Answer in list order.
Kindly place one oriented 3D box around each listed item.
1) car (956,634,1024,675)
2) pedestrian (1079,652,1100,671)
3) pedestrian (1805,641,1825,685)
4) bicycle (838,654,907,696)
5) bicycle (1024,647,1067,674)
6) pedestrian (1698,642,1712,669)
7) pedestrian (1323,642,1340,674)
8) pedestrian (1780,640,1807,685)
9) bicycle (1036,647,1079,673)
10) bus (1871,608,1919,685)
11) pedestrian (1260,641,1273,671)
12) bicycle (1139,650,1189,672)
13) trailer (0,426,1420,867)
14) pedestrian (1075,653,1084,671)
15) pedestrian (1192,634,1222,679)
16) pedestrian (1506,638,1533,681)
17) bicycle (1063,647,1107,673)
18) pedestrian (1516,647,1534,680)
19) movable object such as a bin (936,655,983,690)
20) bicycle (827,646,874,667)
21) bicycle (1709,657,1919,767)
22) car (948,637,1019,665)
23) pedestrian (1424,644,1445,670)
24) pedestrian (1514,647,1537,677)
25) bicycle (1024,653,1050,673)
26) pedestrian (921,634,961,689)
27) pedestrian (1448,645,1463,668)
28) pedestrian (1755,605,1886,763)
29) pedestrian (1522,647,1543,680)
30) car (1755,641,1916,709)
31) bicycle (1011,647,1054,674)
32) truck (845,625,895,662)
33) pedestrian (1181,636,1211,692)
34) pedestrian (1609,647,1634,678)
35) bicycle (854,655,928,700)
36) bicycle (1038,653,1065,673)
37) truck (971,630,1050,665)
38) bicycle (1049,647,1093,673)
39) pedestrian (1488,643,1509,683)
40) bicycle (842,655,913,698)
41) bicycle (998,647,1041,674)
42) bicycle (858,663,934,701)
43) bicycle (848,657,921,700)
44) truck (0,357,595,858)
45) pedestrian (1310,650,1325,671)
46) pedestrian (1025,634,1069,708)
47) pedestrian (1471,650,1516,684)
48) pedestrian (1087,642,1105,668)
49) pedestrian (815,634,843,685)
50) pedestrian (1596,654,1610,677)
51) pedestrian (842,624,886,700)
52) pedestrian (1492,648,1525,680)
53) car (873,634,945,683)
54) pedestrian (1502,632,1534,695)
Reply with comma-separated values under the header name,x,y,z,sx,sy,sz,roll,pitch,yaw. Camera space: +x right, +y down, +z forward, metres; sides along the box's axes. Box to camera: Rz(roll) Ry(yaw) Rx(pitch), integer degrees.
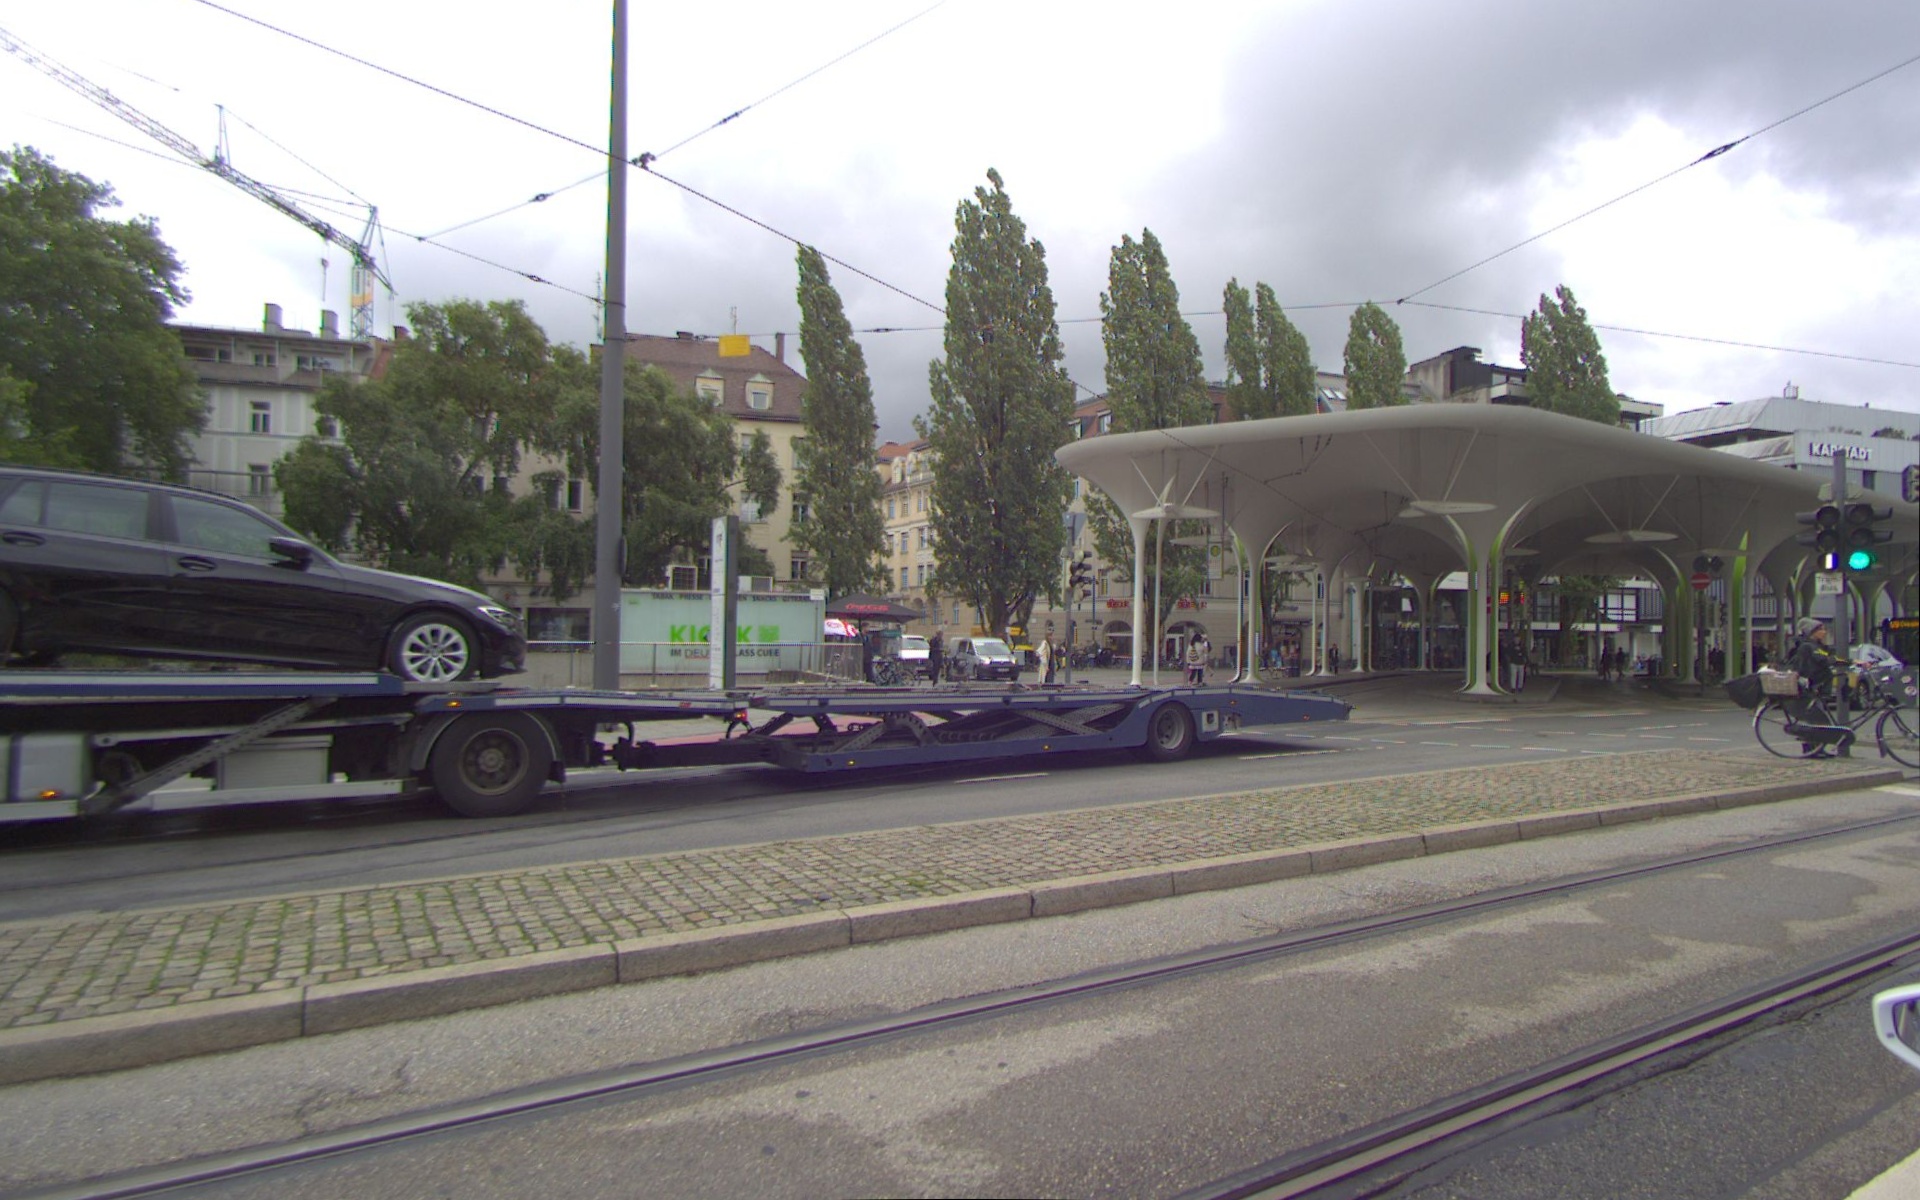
name,x,y,z,sx,sy,sz,roll,pitch,yaw
car,1.199,2.244,42.044,1.800,1.636,3.989,1,-2,-15
pedestrian,7.907,3.768,61.531,0.606,1.097,1.835,1,-2,-16
pedestrian,34.886,2.572,40.983,0.751,1.766,0.559,2,-3,-45
bicycle,-2.384,2.031,27.320,1.819,1.110,0.479,1,-2,-17
bicycle,5.619,3.987,66.655,0.989,1.634,3.598,2,-2,-29
pedestrian,45.652,3.401,61.529,0.543,1.631,0.568,2,-2,-39
pedestrian,19.668,3.082,53.164,0.635,1.669,0.596,2,-2,-37
pedestrian,33.161,2.482,39.952,0.875,1.744,0.707,2,-2,-42
bicycle,6.470,4.015,67.200,0.989,1.634,3.598,2,-2,-29
bus,42.246,2.008,42.533,10.400,3.046,2.647,2,-4,-32
pedestrian,18.668,3.424,61.217,0.546,1.838,0.556,1,-2,-18
bicycle,12.495,3.740,61.450,2.886,1.331,0.841,1,-2,-6
trailer,-0.605,0.553,11.231,15.473,2.717,2.595,2,-4,-33
pedestrian,7.282,3.811,61.440,0.397,1.097,0.467,1,-2,-16
pedestrian,11.472,2.616,46.761,1.010,2.040,1.002,1,-2,-14
pedestrian,22.943,2.430,41.208,0.799,1.750,0.668,-1,-3,44
bicycle,8.479,4.080,68.345,0.989,1.634,3.598,2,-2,-29
pedestrian,27.163,3.033,48.283,0.652,1.585,0.640,-1,-2,35
movable object such as a bin,-0.019,2.323,32.369,0.947,1.098,1.325,2,-2,-33
bicycle,-5.940,3.076,54.628,2.395,1.143,0.818,1,-2,-21
bicycle,10.488,1.332,12.187,2.192,1.165,0.505,1,-1,31
car,1.696,3.629,71.453,4.706,1.945,2.002,0,-2,11
pedestrian,32.881,3.952,69.644,0.981,1.796,0.931,1,-2,-10
pedestrian,29.299,3.222,51.998,0.888,1.528,0.738,2,-3,-37
bicycle,4.608,3.753,60.106,0.726,1.149,2.677,1,-2,-14
pedestrian,-0.638,2.028,33.365,0.947,1.785,1.023,2,-2,-33
pedestrian,37.743,4.299,76.508,0.762,1.683,0.779,1,-2,-20
pedestrian,10.444,0.999,12.211,0.883,1.835,0.858,2,-1,-16
pedestrian,28.155,3.116,49.403,0.691,1.639,0.644,1,-2,-26
car,23.109,1.940,26.489,4.625,1.659,1.854,2,-4,-31
bicycle,4.745,3.959,66.253,0.989,1.634,3.598,2,-2,-29
truck,-6.884,3.284,76.240,2.259,2.657,5.324,1,-2,-22
pedestrian,7.011,1.899,29.831,0.822,1.630,0.748,0,-2,11
pedestrian,37.481,3.532,56.923,0.884,1.753,0.867,1,-2,-29
bicycle,-1.755,1.955,25.564,1.821,1.110,0.478,1,-2,-20
bicycle,5.512,3.782,60.514,0.726,1.149,2.677,1,-2,-14
truck,3.737,3.565,76.103,2.412,2.545,7.126,2,-3,-30
bicycle,7.453,4.047,67.691,0.989,1.634,3.598,2,-2,-29
pedestrian,21.506,2.495,40.129,0.586,1.565,0.634,-1,-3,43
bicycle,-2.209,2.034,26.825,1.819,1.110,0.479,1,-2,-17
bicycle,3.875,3.931,65.763,0.989,1.634,3.598,2,-2,-29
bicycle,-1.588,2.030,25.035,1.822,0.906,0.478,1,-2,-22
bicycle,-1.965,2.039,26.168,1.819,1.110,0.479,1,-2,-17
truck,-6.851,0.098,7.240,7.602,3.127,2.554,2,-4,-31
pedestrian,18.798,3.199,52.883,0.573,1.098,0.513,2,-2,-37
pedestrian,2.017,1.623,23.193,0.728,1.650,0.740,-1,-2,39
pedestrian,19.702,2.473,37.082,1.248,1.246,0.811,1,-2,-11
pedestrian,9.646,3.900,71.267,0.792,1.807,0.951,2,-2,-31
pedestrian,-4.215,1.899,32.216,0.784,1.621,0.738,1,-2,-15
pedestrian,35.961,3.647,56.192,0.564,1.282,0.519,-1,-2,22
pedestrian,-2.235,1.434,23.366,0.847,1.739,0.733,1,-2,-19
pedestrian,24.377,2.846,44.641,0.829,1.388,0.961,1,-2,-23
car,-2.270,2.484,43.480,1.842,1.973,4.911,1,-2,-19
pedestrian,16.965,1.914,30.559,0.652,1.863,0.811,0,-2,14
